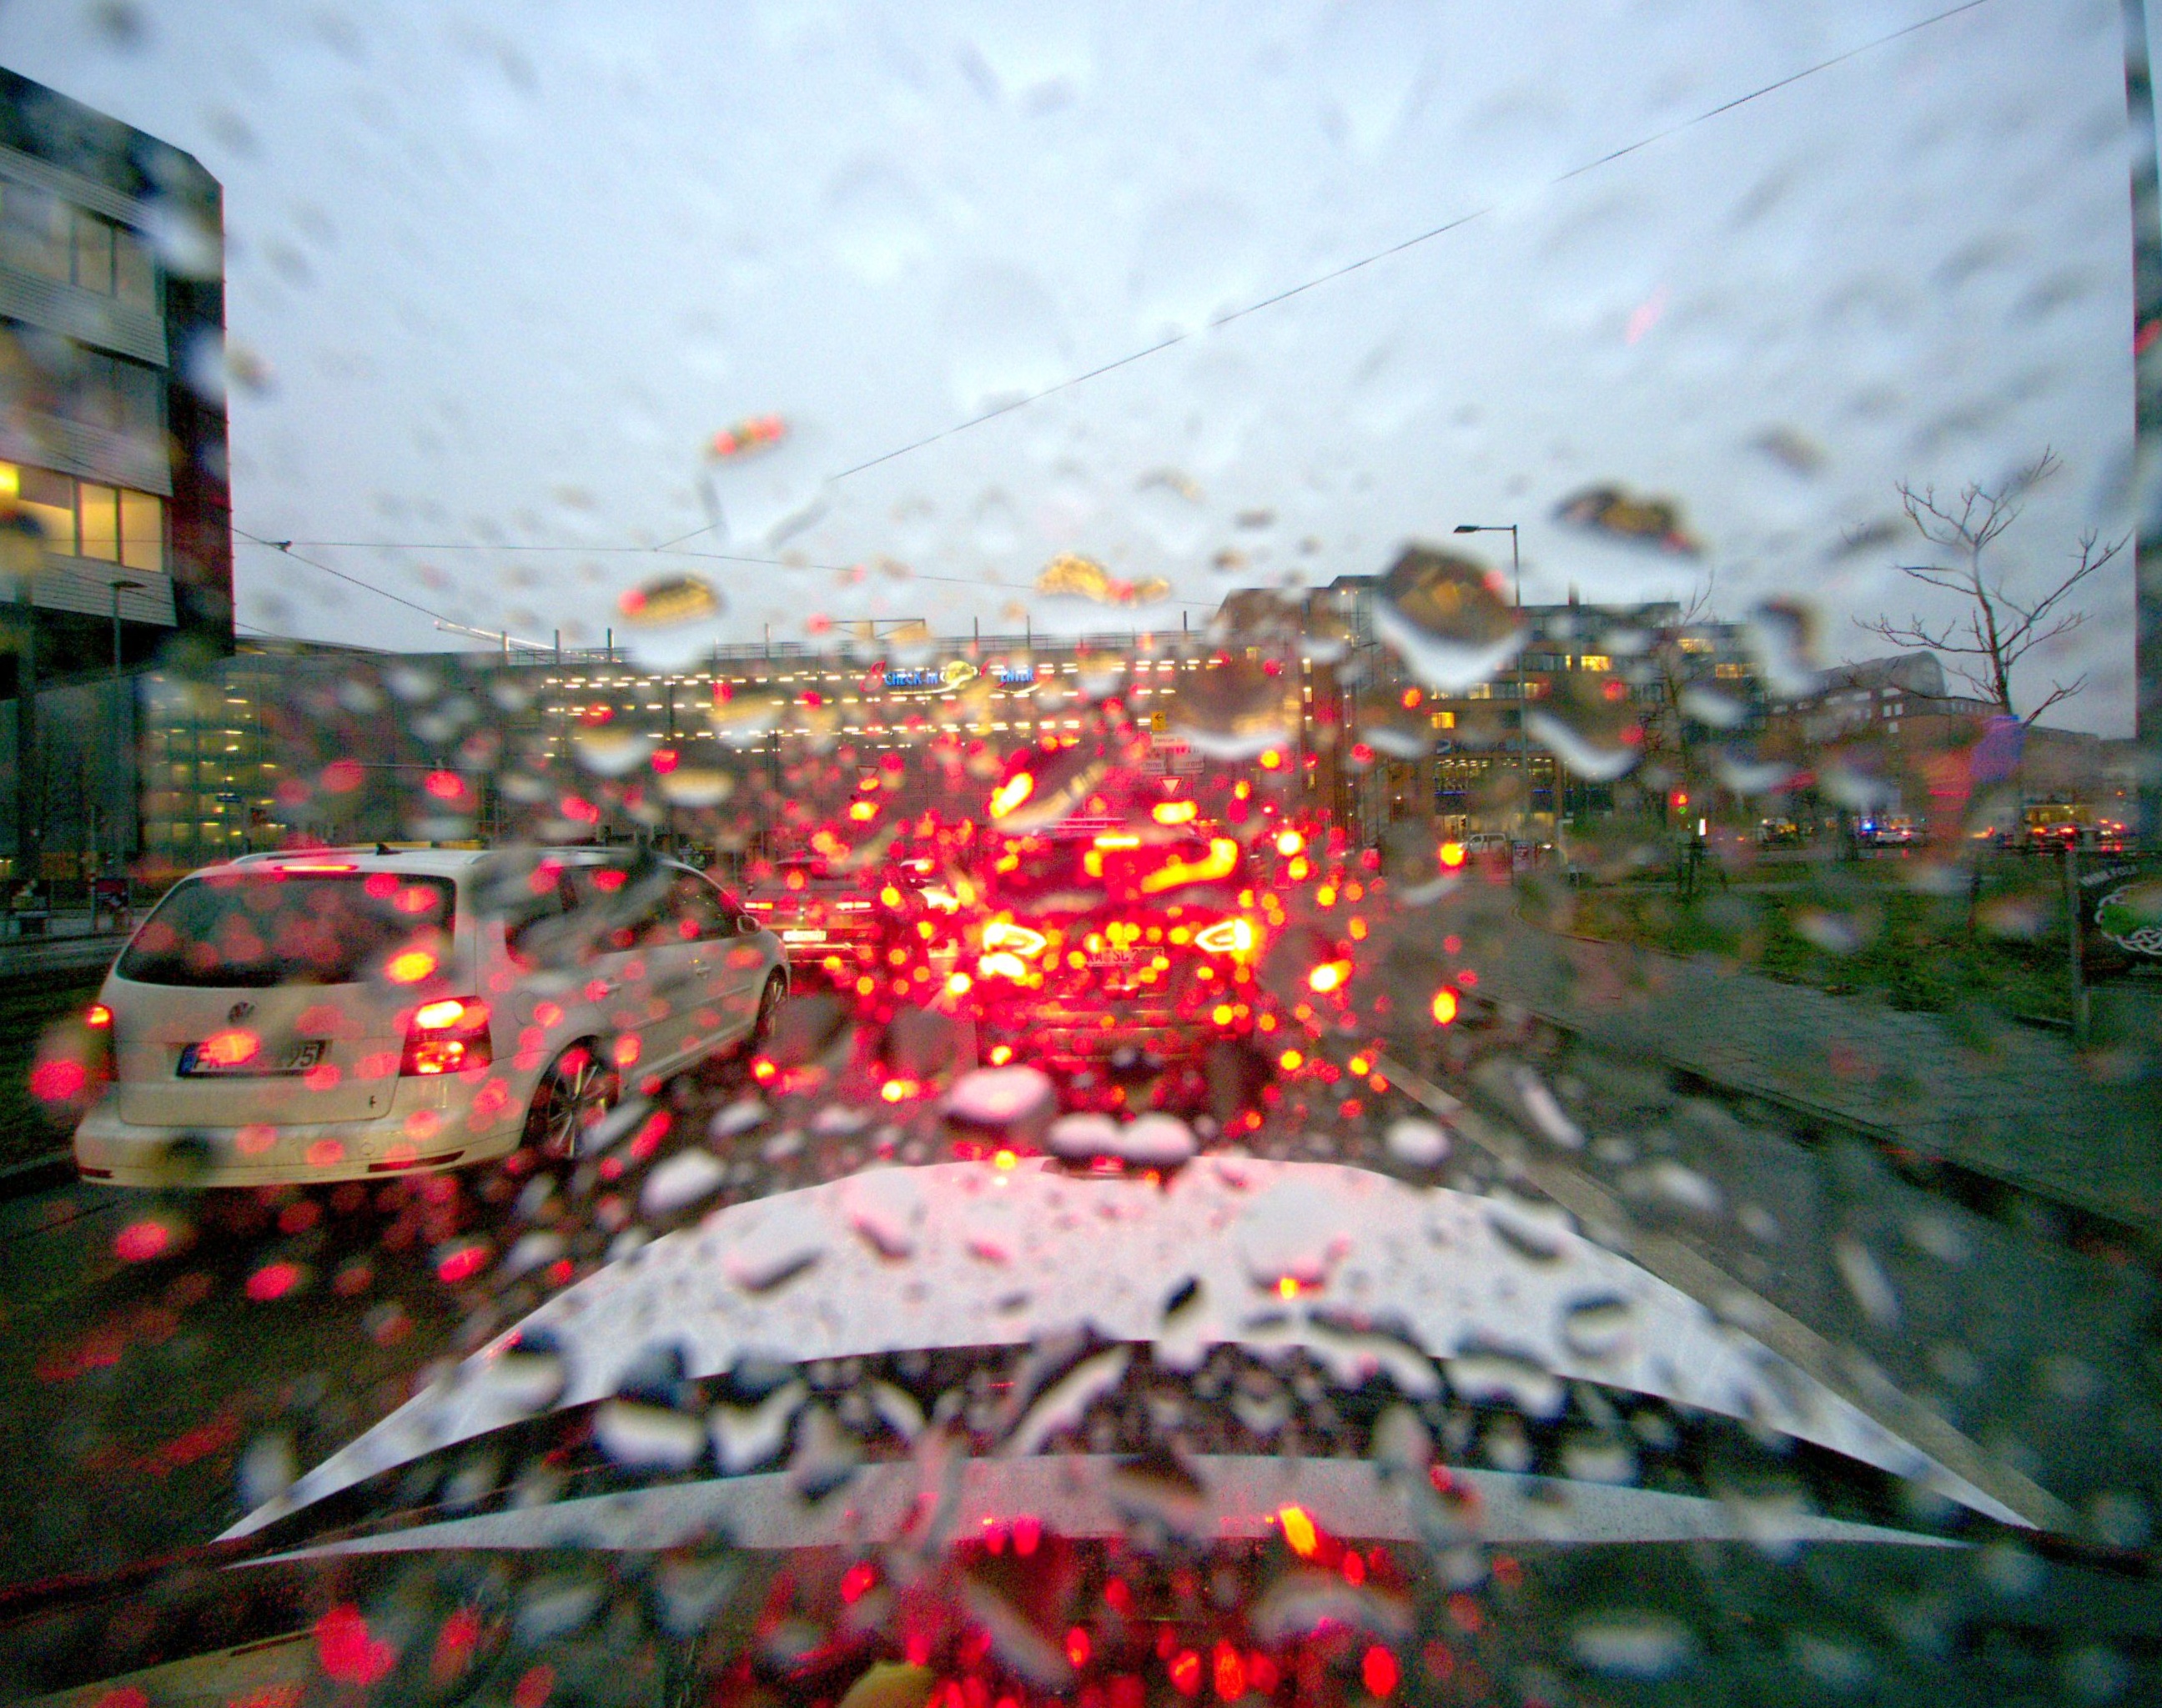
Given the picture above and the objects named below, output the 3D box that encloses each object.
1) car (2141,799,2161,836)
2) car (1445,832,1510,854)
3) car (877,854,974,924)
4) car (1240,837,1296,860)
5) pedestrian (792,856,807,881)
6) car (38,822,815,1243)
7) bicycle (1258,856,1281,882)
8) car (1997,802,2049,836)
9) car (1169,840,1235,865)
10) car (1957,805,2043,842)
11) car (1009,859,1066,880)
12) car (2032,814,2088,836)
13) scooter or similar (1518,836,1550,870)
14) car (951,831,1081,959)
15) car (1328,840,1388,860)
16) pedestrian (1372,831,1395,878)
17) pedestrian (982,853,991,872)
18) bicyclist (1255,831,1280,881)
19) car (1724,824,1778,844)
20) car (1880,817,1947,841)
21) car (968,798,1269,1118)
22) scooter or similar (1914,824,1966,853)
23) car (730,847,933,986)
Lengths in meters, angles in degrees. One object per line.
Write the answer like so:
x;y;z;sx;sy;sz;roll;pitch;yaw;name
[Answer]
87.444;-2.963;64.487;6.356;2.827;2.348;-2;0;-19;car
33.150;-0.891;68.099;4.634;1.677;1.781;-2;0;-8;car
-3.594;0.758;19.487;1.754;1.463;3.912;-1;0;-4;car
16.484;-0.455;71.915;4.351;1.871;1.902;-2;0;-5;car
-27.293;1.416;78.951;1.106;2.439;0.966;0;-1;1;pedestrian
-3.264;0.695;5.329;1.666;1.599;4.221;-2;0;-1;car
7.346;0.569;31.779;0.651;0.973;1.870;-2;0;8;bicycle
82.521;-3.023;71.335;6.386;2.827;2.337;-2;0;-35;car
9.665;-0.119;65.315;4.938;1.871;1.902;-2;0;-5;car
64.936;-2.179;57.525;5.975;2.427;1.986;-2;0;-20;car
-3.135;1.104;59.874;1.624;1.386;4.505;-2;0;38;car
71.449;-2.111;59.446;3.470;1.520;1.513;-1;0;-19;car
16.954;-0.045;30.477;1.312;1.206;0.331;-2;0;-27;scooter or similar
-1.047;0.583;14.145;1.839;1.806;4.482;-2;0;-3;car
22.704;-0.321;66.859;4.320;1.486;1.863;-2;0;-5;car
12.315;0.031;33.180;0.766;1.877;0.639;-2;0;24;pedestrian
-9.034;0.830;78.106;0.786;1.787;0.732;-2;0;-3;pedestrian
7.256;0.091;31.723;0.786;1.890;0.991;-2;0;7;bicyclist
61.916;-1.837;75.242;4.614;1.719;1.915;-2;0;-22;car
56.376;-1.678;55.161;3.681;1.496;1.635;-2;0;-17;car
0.264;0.593;6.670;1.668;1.779;4.001;-2;0;1;car
36.414;-0.661;34.544;1.548;1.227;0.669;0;-1;-4;scooter or similar
-3.328;0.727;11.784;1.817;1.570;4.355;-2;0;-4;car
